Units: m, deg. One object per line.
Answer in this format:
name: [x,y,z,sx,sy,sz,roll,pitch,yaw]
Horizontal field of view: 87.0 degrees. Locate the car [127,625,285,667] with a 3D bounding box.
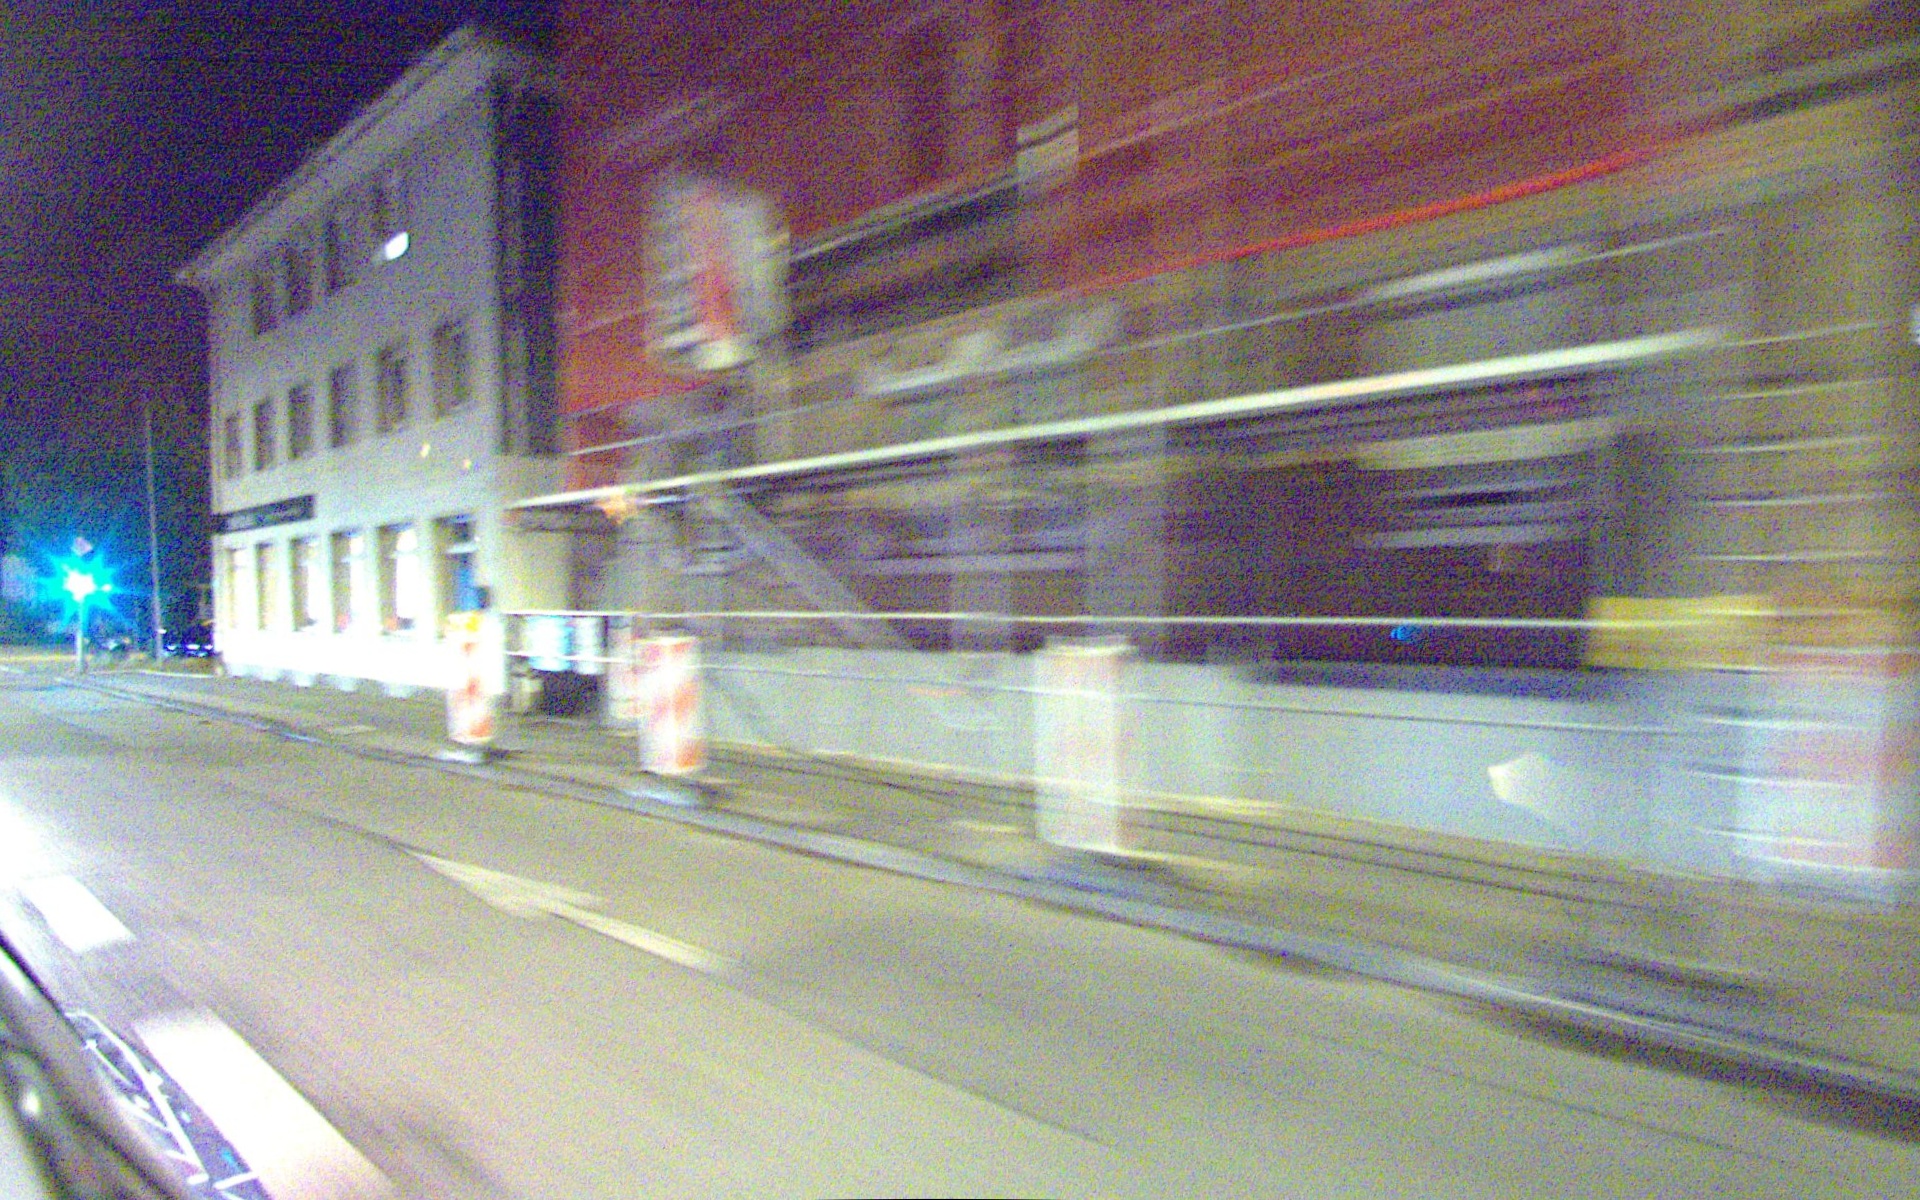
car: [-27.240,1.641,36.616,4.677,1.435,1.887,0,-1,10]

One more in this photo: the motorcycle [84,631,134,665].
motorcycle: [-31.000,1.747,36.844,2.020,1.189,0.569,-1,-1,24]

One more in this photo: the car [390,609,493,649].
car: [-26.664,1.450,52.129,1.957,1.767,4.292,1,2,43]

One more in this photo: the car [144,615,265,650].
car: [-38.498,1.626,51.689,2.001,1.641,4.614,0,-1,39]
